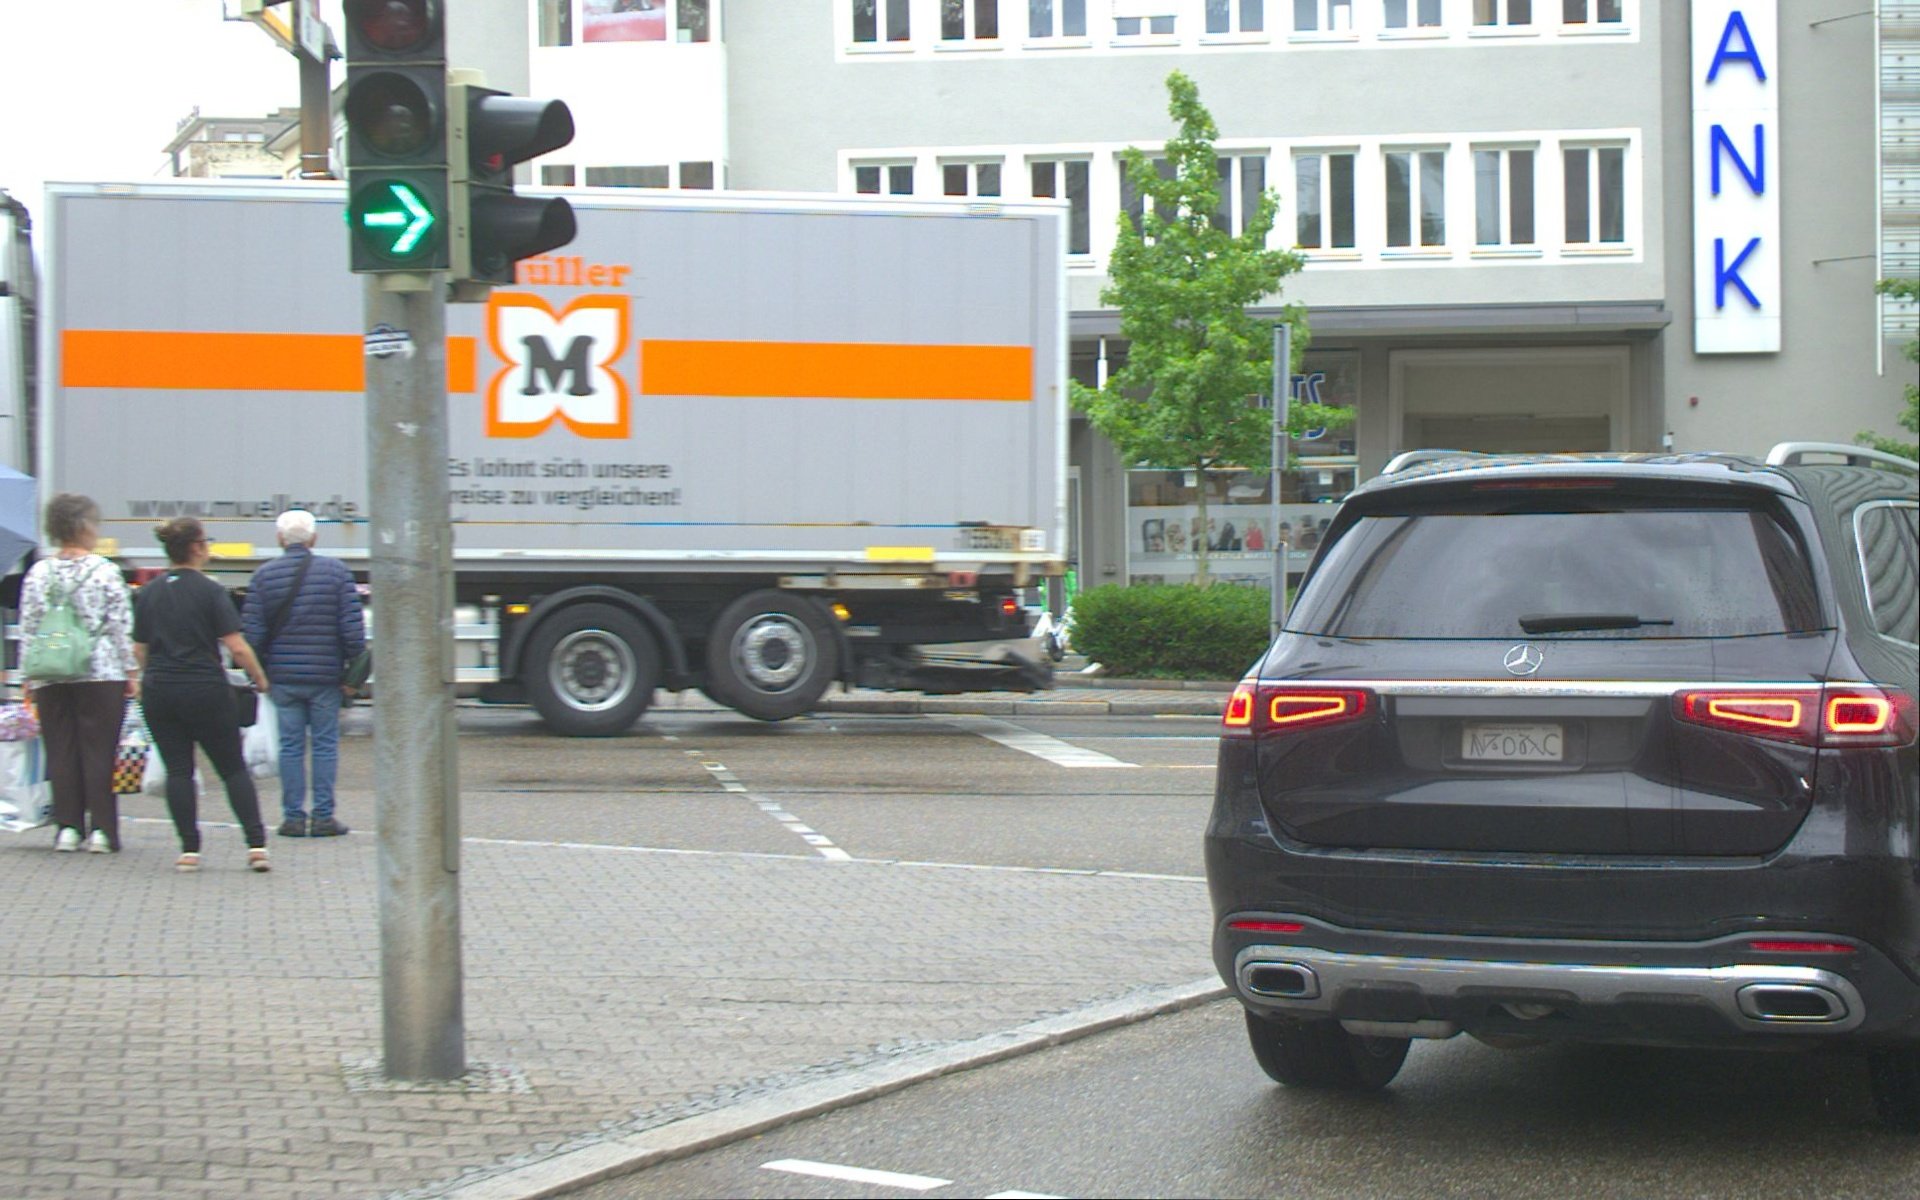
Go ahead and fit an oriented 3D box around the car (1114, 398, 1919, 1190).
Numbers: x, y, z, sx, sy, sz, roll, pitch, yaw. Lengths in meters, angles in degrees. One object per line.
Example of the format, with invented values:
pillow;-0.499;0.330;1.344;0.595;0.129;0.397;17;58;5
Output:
car;2.343;0.417;10.493;2.090;1.811;4.786;2;1;24

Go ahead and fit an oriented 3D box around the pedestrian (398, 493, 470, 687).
pedestrian;-4.544;-0.088;29.711;0.569;1.663;0.502;0;1;-5

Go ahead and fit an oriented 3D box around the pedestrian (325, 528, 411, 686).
pedestrian;-5.109;0.060;29.658;0.630;1.335;0.588;1;1;-17

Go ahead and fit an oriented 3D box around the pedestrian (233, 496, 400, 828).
pedestrian;-3.124;0.293;16.743;0.713;1.563;0.855;1;0;-7

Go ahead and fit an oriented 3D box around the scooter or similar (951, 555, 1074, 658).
scooter or similar;0.621;0.073;40.379;1.380;1.183;0.544;0;1;8

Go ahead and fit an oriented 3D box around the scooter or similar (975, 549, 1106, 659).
scooter or similar;0.988;0.040;42.083;1.497;1.252;0.930;1;4;8

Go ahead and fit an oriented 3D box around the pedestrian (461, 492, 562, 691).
pedestrian;-3.887;-0.079;29.818;0.781;1.683;0.639;1;1;-3

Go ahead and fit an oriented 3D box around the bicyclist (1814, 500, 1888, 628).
bicyclist;11.922;-0.483;46.033;0.844;1.698;0.623;0;1;3

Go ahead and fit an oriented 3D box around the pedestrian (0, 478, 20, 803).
pedestrian;-5.377;0.209;17.985;0.756;1.686;0.693;1;-1;-7

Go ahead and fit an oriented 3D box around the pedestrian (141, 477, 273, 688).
pedestrian;-6.526;-0.157;29.766;1.009;1.781;0.853;1;1;-18

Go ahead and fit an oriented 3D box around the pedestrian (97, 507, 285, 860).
pedestrian;-3.306;0.354;14.819;0.704;1.483;0.560;1;0;-7

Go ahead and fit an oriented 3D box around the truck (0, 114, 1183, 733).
truck;-3.902;-1.248;25.938;10.733;4.318;2.857;0;1;-10

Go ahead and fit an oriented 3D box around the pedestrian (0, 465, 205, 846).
pedestrian;-3.992;0.236;15.592;0.978;1.666;0.915;1;1;-6
